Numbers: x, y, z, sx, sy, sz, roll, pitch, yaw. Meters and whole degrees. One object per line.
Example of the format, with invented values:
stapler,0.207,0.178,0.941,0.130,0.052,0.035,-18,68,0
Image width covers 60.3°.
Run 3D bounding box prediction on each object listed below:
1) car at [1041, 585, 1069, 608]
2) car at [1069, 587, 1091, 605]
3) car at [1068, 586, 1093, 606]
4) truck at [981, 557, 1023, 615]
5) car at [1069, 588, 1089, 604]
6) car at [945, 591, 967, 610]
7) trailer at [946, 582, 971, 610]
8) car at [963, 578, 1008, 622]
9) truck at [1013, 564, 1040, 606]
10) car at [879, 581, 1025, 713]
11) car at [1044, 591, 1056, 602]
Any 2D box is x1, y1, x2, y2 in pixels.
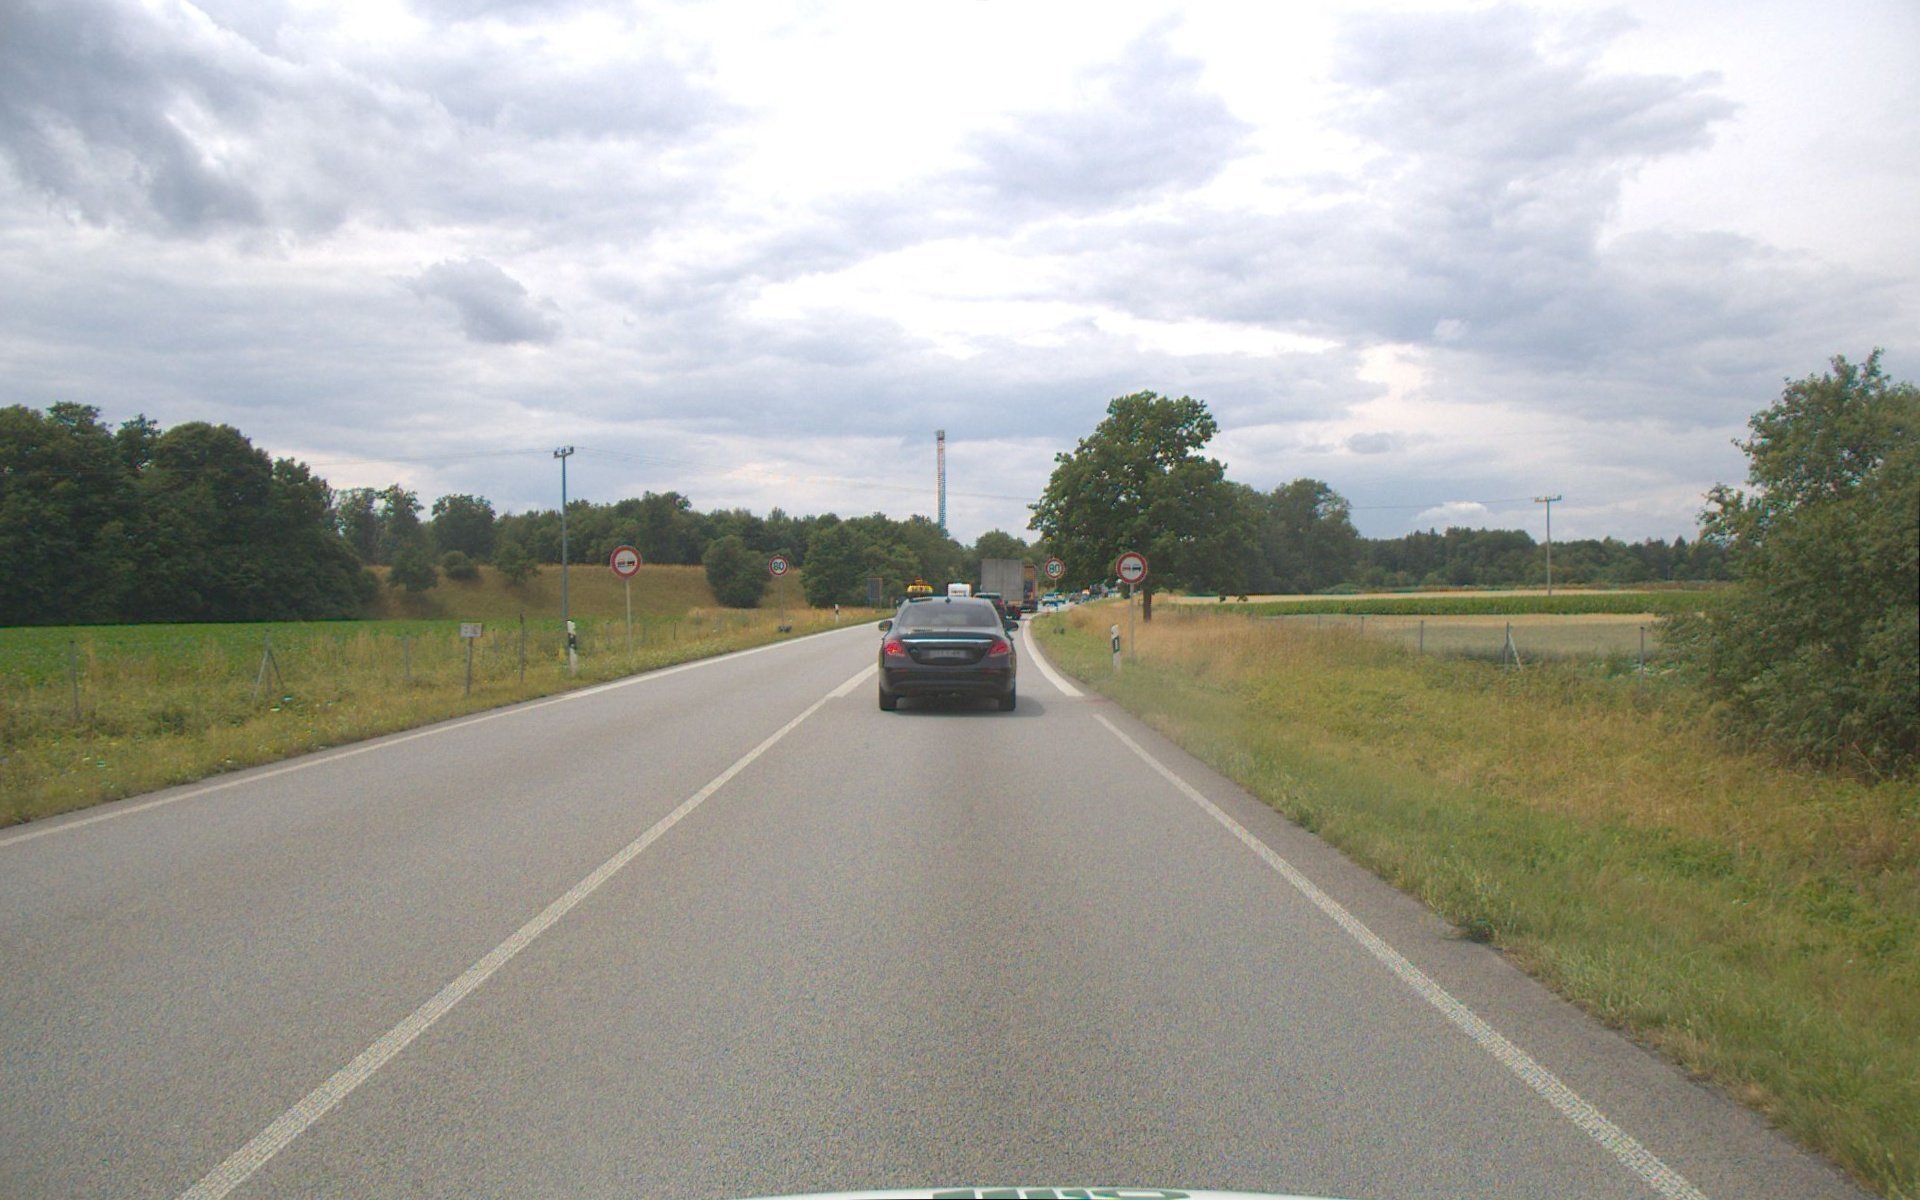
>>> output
car,7.281,-0.231,127.398,1.759,1.691,3.998,1,0,-2
car,11.762,-0.404,162.000,1.759,1.691,3.998,1,0,-2
car,10.694,-0.352,147.112,1.759,1.691,3.998,1,0,-2
truck,2.659,-0.850,104.824,2.533,3.586,4.813,1,0,1
car,12.610,-0.410,175.729,1.759,1.691,3.998,1,0,-2
car,-0.356,0.074,155.981,1.964,1.686,4.328,1,0,1
trailer,-0.130,-0.338,161.269,2.137,2.620,6.244,1,0,2
car,1.224,-0.005,80.118,1.953,2.049,3.998,1,0,-2
truck,5.833,-1.265,145.358,1.953,3.587,4.590,1,0,-2
car,-0.154,0.592,22.318,1.759,1.587,3.998,1,0,-2
car,11.630,-0.447,213.975,1.614,1.420,3.707,1,0,3
